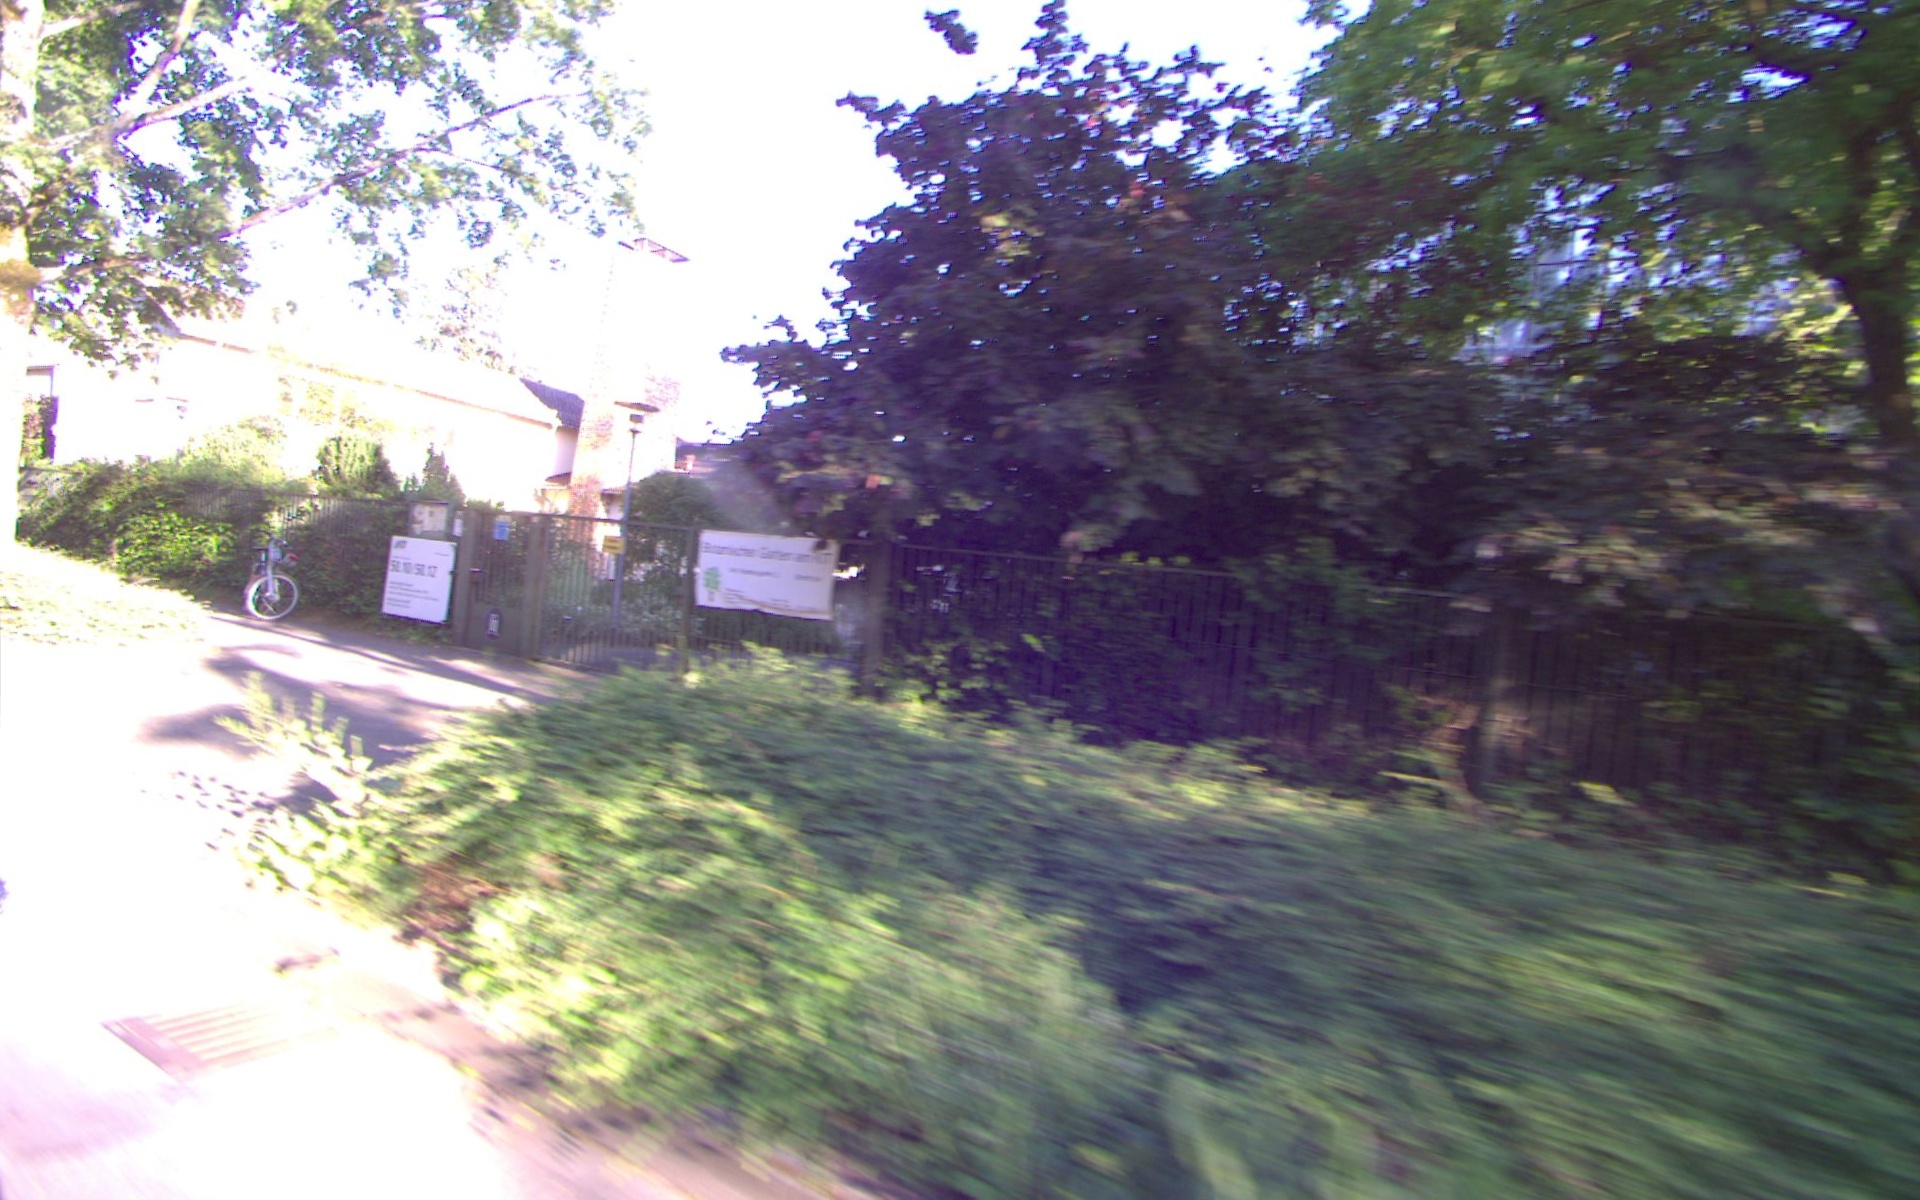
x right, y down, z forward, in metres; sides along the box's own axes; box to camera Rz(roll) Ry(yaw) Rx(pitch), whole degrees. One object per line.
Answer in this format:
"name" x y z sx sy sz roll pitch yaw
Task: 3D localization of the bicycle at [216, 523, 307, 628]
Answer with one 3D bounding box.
"bicycle" -9.374 -0.368 13.543 0.877 1.216 2.304 4 2 -34
